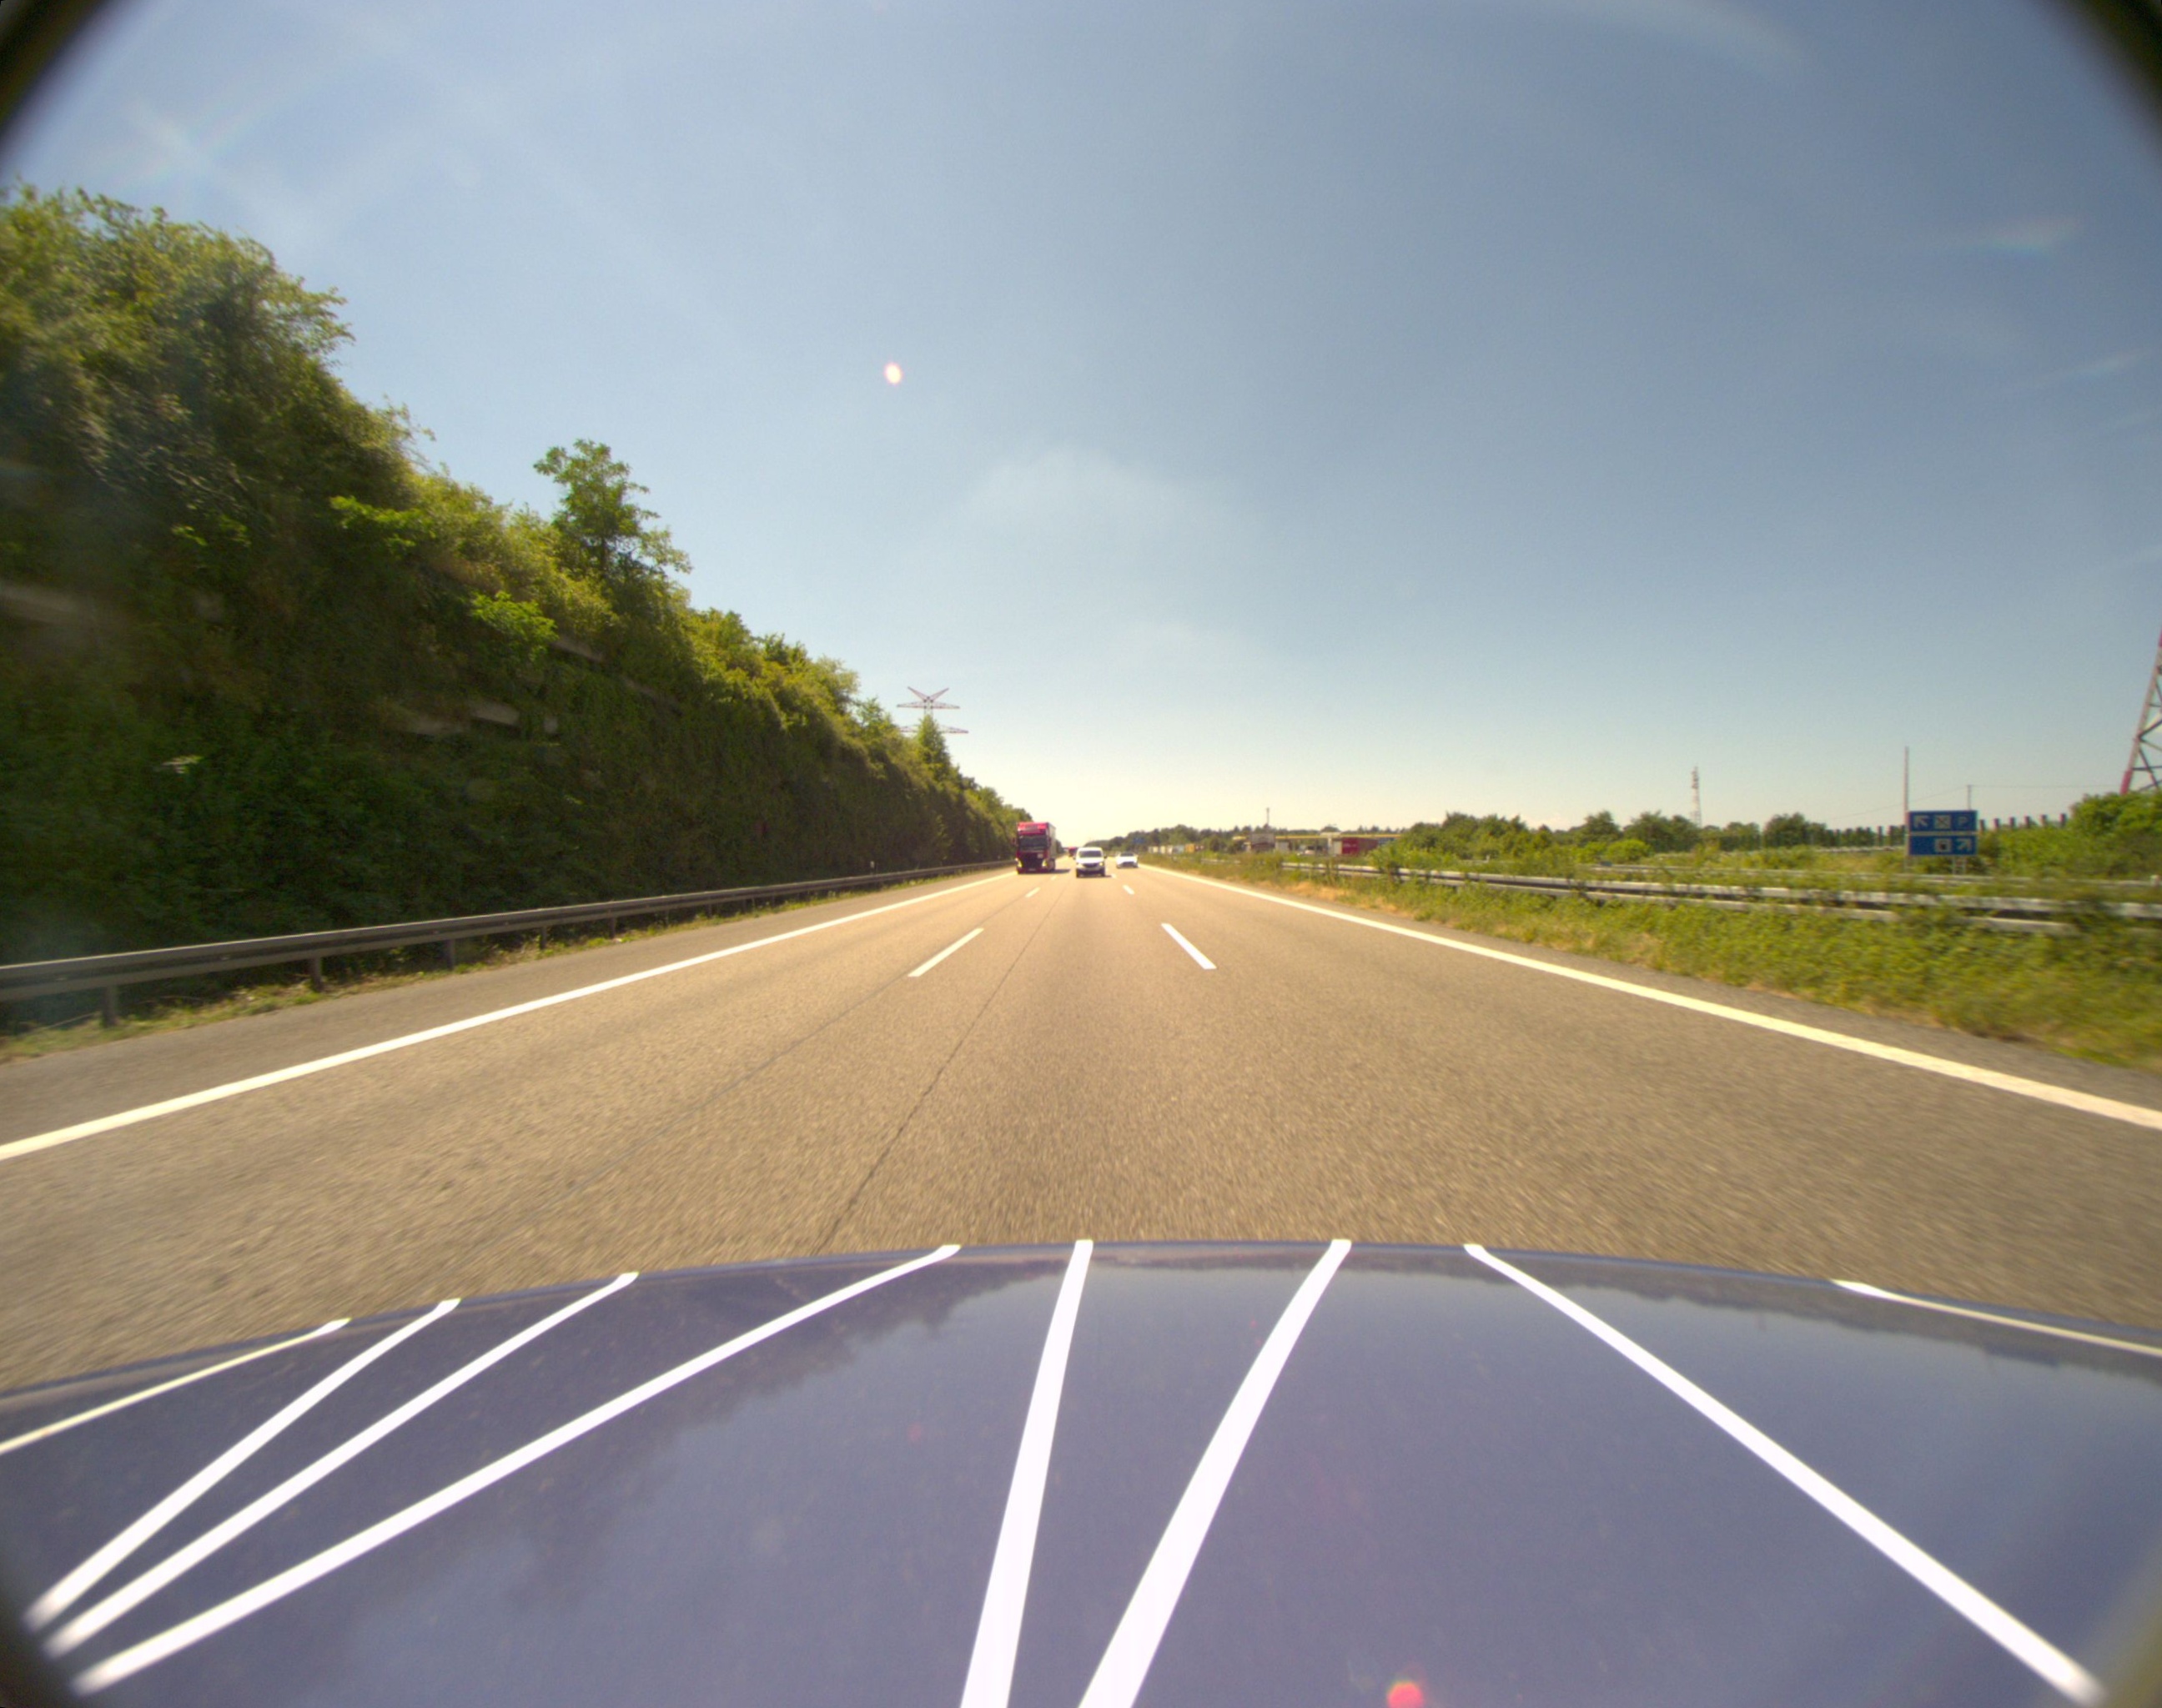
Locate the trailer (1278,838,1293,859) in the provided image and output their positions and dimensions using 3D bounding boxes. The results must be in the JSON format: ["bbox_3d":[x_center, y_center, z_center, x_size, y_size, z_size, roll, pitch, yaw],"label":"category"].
[{"bbox_3d":[49.659,-1.277,184.723,3.306,4.846,9.692,-2,0,15],"label":"trailer"}]

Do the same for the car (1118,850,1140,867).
[{"bbox_3d":[4.324,0.357,68.657,1.775,1.410,3.401,-3,0,1],"label":"car"}]

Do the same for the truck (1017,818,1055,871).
[{"bbox_3d":[-3.466,-0.708,60.276,2.505,3.897,7.096,-2,1,0],"label":"truck"}]

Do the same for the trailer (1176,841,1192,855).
[{"bbox_3d":[31.971,-1.879,235.943,2.840,4.124,12.082,-3,0,-1],"label":"trailer"}]

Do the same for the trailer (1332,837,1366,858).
[{"bbox_3d":[58.936,-1.355,167.549,3.309,4.332,12.921,-3,0,2],"label":"trailer"}]

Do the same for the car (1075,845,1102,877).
[{"bbox_3d":[0.456,0.412,46.727,1.501,1.799,3.393,-3,0,0],"label":"car"}]

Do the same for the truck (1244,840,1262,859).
[{"bbox_3d":[46.066,-1.206,203.663,3.033,4.822,7.878,-3,1,2],"label":"truck"}]

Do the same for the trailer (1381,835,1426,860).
[{"bbox_3d":[62.012,-1.301,145.856,11.083,4.241,3.158,-3,1,-40],"label":"trailer"}]

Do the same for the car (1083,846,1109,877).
[{"bbox_3d":[0.885,0.421,46.676,1.413,1.795,3.200,-3,0,0],"label":"car"}]

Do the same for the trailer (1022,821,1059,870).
[{"bbox_3d":[-3.461,-0.747,68.648,2.497,3.887,14.244,-2,0,0],"label":"trailer"}]

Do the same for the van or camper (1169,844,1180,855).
[{"bbox_3d":[23.443,-1.193,190.433,2.064,2.510,6.389,-3,0,1],"label":"van or camper"}]

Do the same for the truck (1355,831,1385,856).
[{"bbox_3d":[50.236,-1.859,132.068,3.119,4.026,6.658,-2,1,35],"label":"truck"}]

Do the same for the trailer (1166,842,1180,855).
[{"bbox_3d":[31.500,-1.957,260.254,3.121,4.134,11.013,-3,0,-1],"label":"trailer"}]

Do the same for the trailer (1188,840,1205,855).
[{"bbox_3d":[32.445,-1.829,214.562,2.840,4.195,11.081,-3,0,-1],"label":"trailer"}]

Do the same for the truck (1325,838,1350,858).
[{"bbox_3d":[59.201,-1.414,175.382,3.309,4.332,7.625,-3,0,2],"label":"truck"}]

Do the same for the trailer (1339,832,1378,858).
[{"bbox_3d":[46.206,-1.559,126.218,3.123,4.032,11.334,-2,1,35],"label":"trailer"}]

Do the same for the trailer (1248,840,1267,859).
[{"bbox_3d":[45.845,-1.159,197.414,3.040,4.822,9.134,-3,0,2],"label":"trailer"}]
